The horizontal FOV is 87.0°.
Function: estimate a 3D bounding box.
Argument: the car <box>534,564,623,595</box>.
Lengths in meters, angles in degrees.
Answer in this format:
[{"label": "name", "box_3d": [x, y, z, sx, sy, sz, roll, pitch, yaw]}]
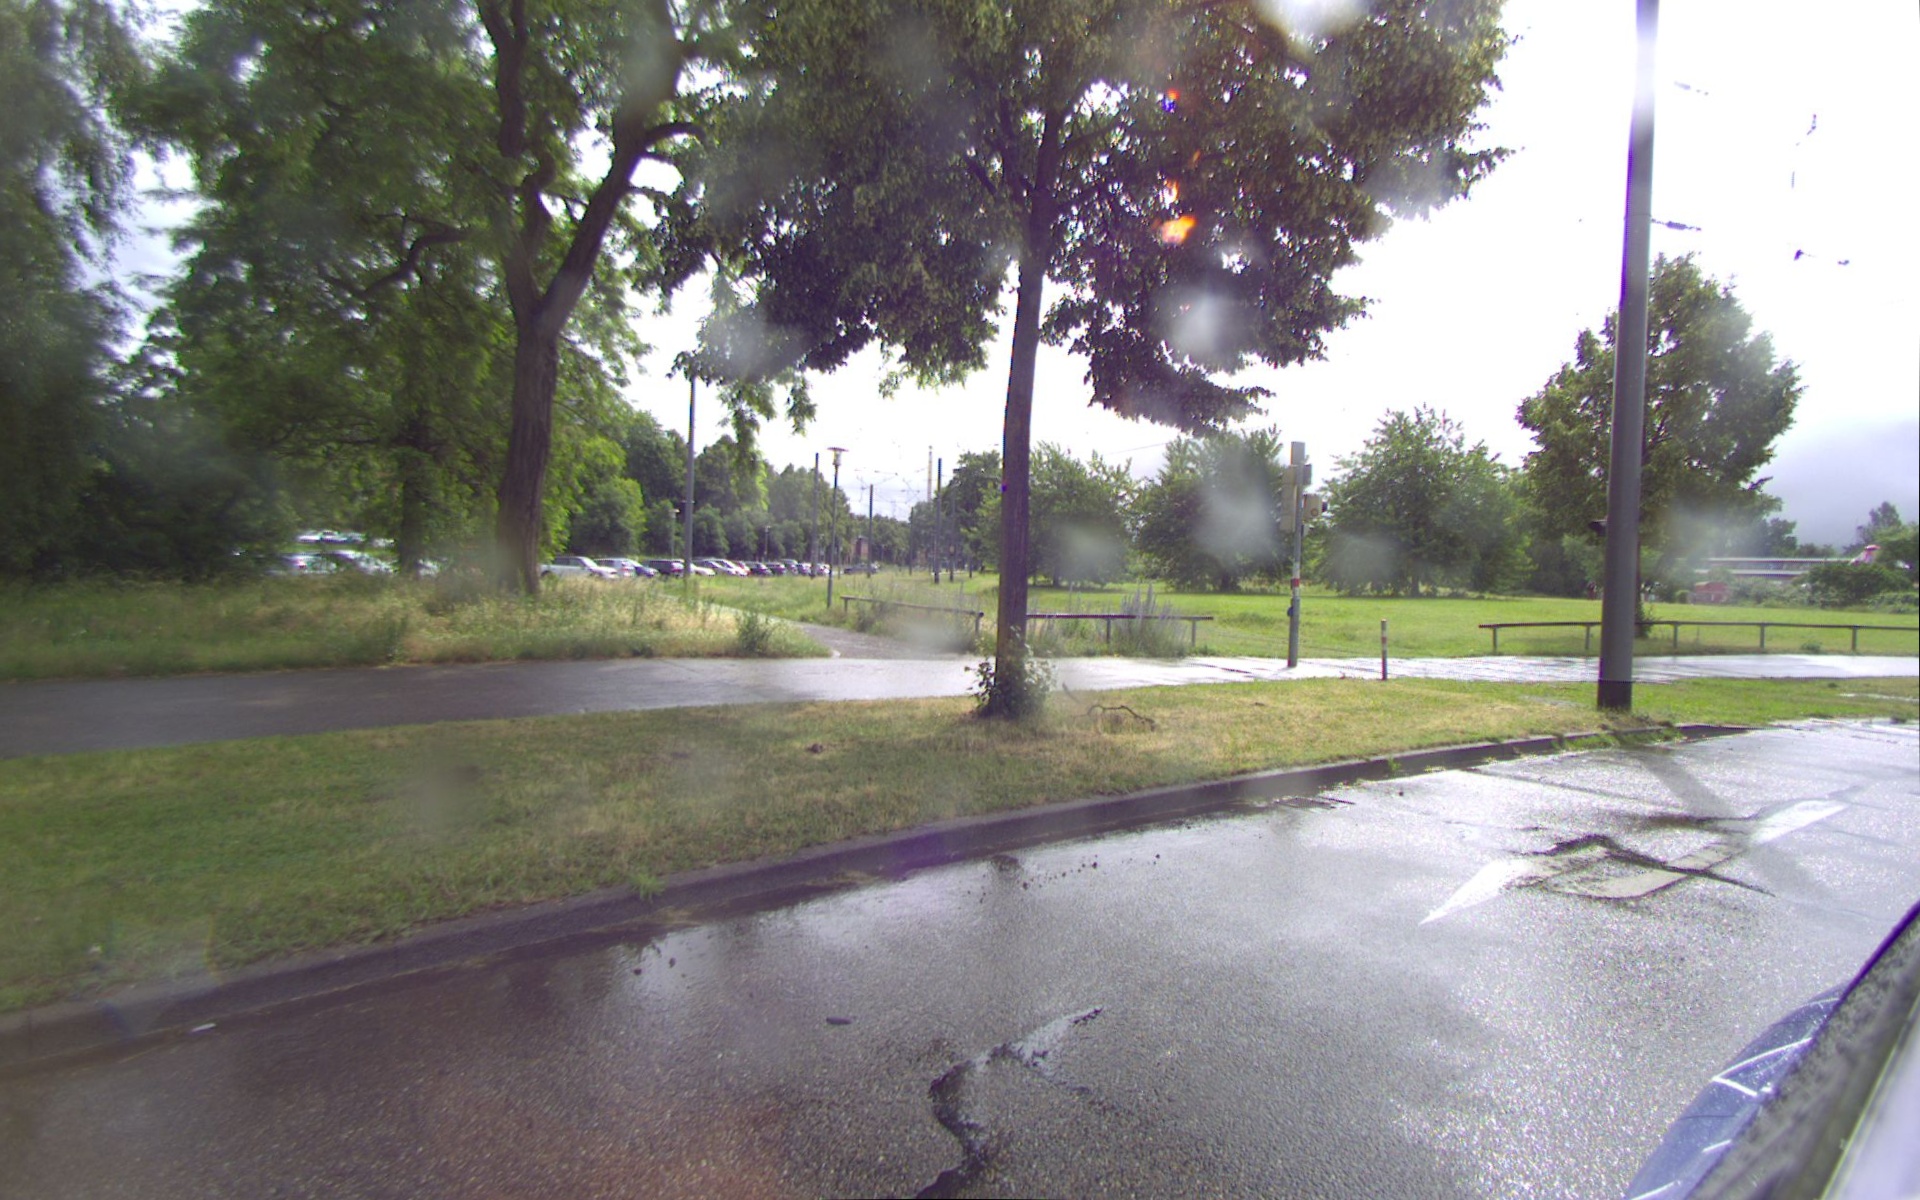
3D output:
[{"label": "car", "box_3d": [-19.869, -1.084, 52.779, 3.929, 1.546, 1.797, 1, 2, 5]}]

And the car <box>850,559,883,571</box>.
[{"label": "car", "box_3d": [-12.891, -4.854, 139.329, 4.326, 1.579, 1.848, 1, 2, 5]}]

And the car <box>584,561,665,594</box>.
[{"label": "car", "box_3d": [-19.189, -1.296, 58.011, 3.930, 1.736, 1.997, 1, 2, 6]}]

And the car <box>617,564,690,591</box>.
[{"label": "car", "box_3d": [-18.920, -1.421, 62.522, 3.908, 1.579, 1.848, 1, 2, 5]}]

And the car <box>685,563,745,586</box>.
[{"label": "car", "box_3d": [-18.079, -1.892, 74.751, 3.908, 1.579, 1.848, 1, 2, 5]}]

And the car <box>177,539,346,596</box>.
[{"label": "car", "box_3d": [-20.902, -0.978, 30.379, 3.908, 1.579, 1.848, 1, 2, 5]}]

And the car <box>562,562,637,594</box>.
[{"label": "car", "box_3d": [-19.608, -1.204, 55.128, 3.564, 1.681, 1.549, 1, 1, 5]}]

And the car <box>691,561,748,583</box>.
[{"label": "car", "box_3d": [-18.587, -2.150, 78.388, 3.908, 1.579, 1.848, 1, 2, 5]}]

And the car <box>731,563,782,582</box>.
[{"label": "car", "box_3d": [-17.420, -2.353, 86.566, 3.908, 1.579, 1.848, 1, 2, 5]}]

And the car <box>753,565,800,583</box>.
[{"label": "car", "box_3d": [-16.772, -2.367, 92.450, 3.908, 1.579, 1.848, 1, 2, 5]}]

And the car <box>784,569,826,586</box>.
[{"label": "car", "box_3d": [-15.859, -2.327, 103.874, 3.908, 1.579, 1.848, 1, 2, 5]}]

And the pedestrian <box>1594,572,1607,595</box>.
[{"label": "pedestrian", "box_3d": [49.263, -1.247, 77.868, 0.595, 1.754, 0.598, 2, -1, 9]}]

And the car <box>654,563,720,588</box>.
[{"label": "car", "box_3d": [-18.329, -1.631, 67.983, 3.908, 1.579, 1.848, 1, 2, 5]}]

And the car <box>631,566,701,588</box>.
[{"label": "car", "box_3d": [-18.925, -1.497, 65.256, 3.908, 1.324, 1.848, 1, 2, 5]}]

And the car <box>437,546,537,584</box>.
[{"label": "car", "box_3d": [-20.146, -1.490, 43.155, 3.591, 1.529, 1.646, 2, 2, 10]}]

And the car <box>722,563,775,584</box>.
[{"label": "car", "box_3d": [-17.191, -2.184, 82.300, 3.908, 1.579, 1.848, 1, 2, 5]}]

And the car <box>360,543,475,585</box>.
[{"label": "car", "box_3d": [-20.398, -1.354, 38.101, 3.550, 1.480, 1.642, 2, 2, 8]}]
